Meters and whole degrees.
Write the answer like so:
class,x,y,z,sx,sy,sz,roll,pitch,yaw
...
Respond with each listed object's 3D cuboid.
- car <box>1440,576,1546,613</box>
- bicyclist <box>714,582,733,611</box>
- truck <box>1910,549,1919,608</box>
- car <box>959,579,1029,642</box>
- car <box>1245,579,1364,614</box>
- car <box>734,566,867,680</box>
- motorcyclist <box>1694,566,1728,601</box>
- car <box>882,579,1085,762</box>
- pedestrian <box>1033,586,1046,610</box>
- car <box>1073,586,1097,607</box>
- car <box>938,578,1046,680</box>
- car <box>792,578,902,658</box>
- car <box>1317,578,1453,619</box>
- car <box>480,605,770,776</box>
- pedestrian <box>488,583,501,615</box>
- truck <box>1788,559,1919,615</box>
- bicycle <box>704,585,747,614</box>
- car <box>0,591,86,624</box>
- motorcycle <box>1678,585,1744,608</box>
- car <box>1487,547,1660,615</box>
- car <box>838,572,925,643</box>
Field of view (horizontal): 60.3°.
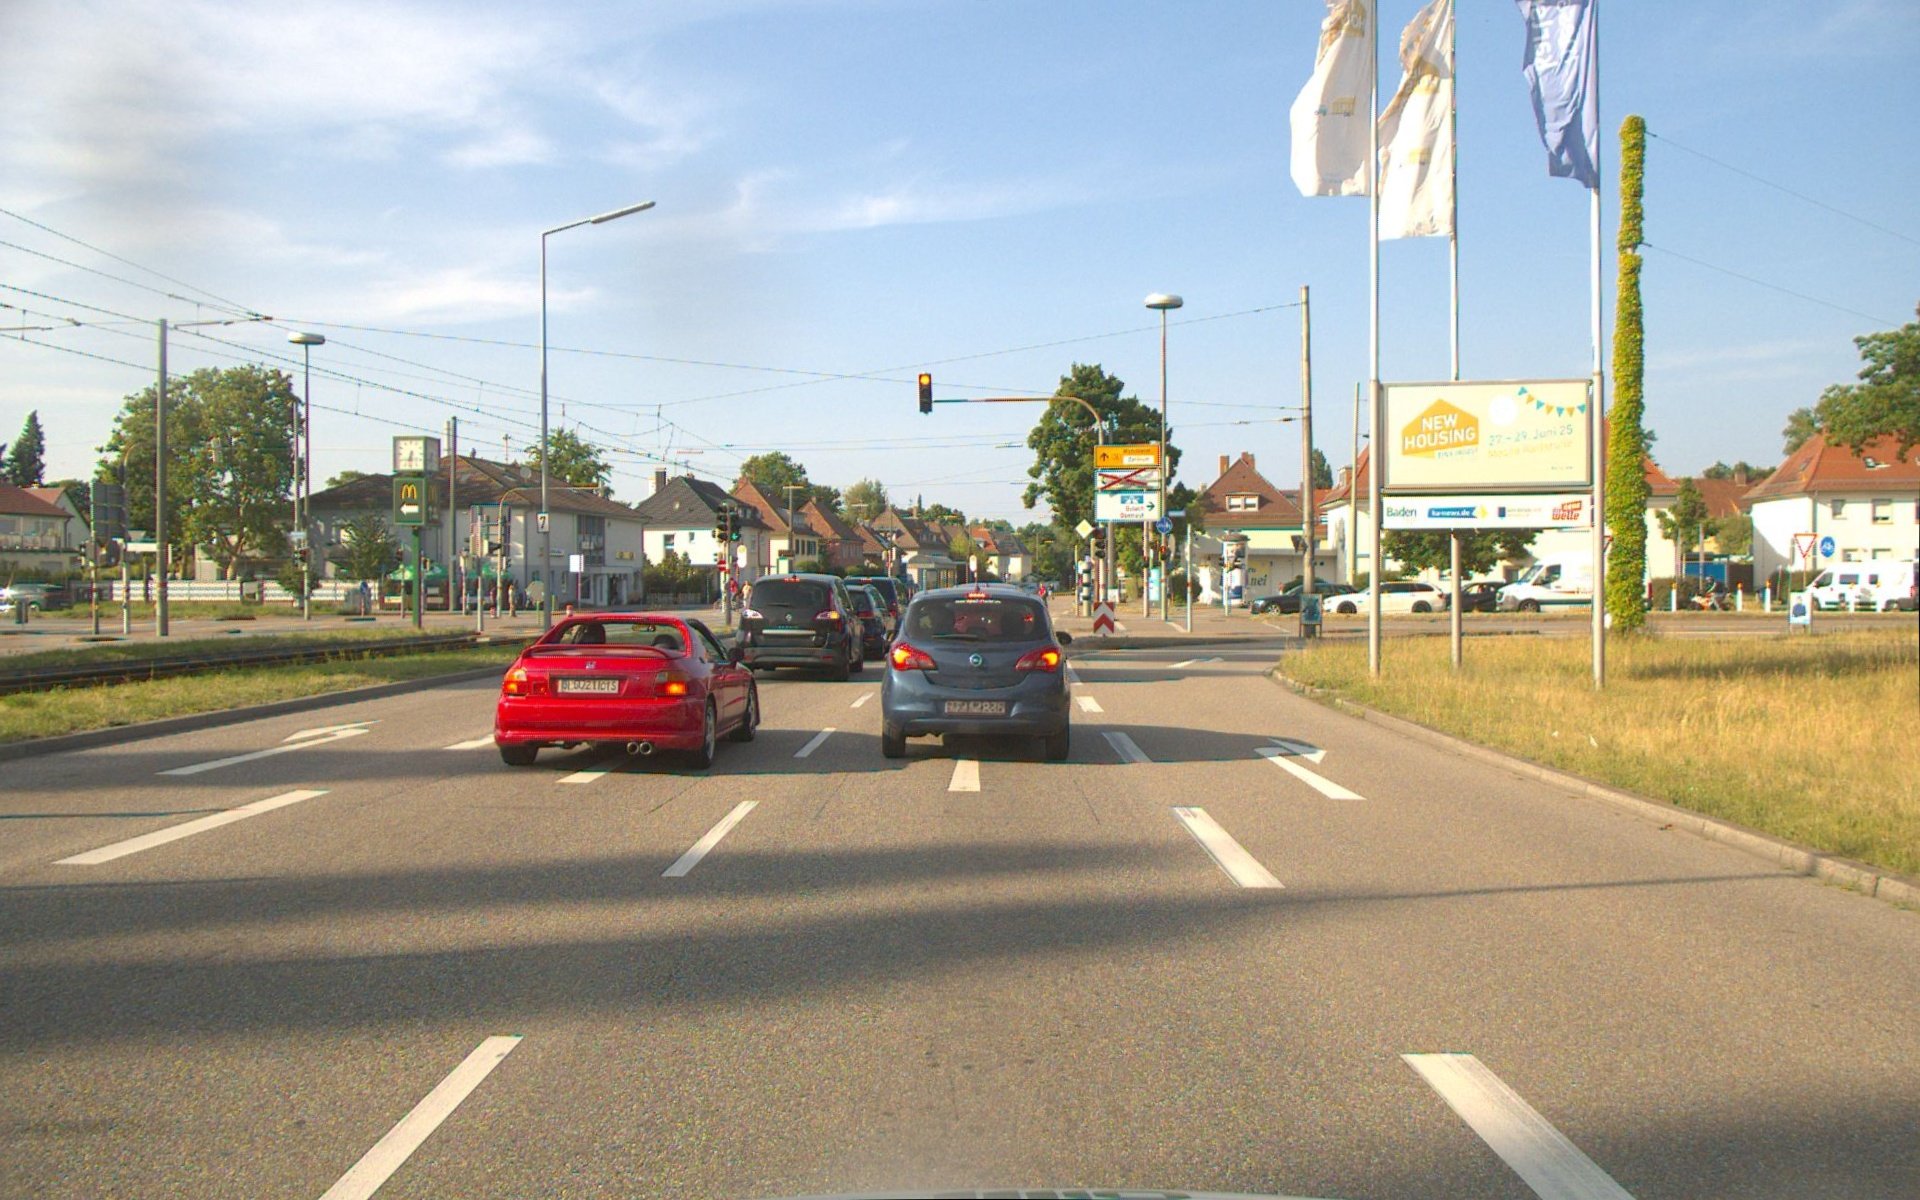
class,x,y,z,sx,sy,sz,roll,pitch,yaw
car,22.228,-0.230,69.030,3.903,1.478,1.717,0,0,4
bicyclist,-11.804,-0.172,82.485,0.867,1.456,1.135,1,0,-6
truck,49.528,-1.056,79.944,1.880,2.904,5.985,0,0,-42
car,0.849,0.238,40.926,1.622,1.468,4.015,-1,0,1
car,14.467,-0.154,69.656,4.722,1.436,1.717,0,0,4
car,-2.500,0.325,26.789,1.727,1.700,4.084,0,1,0
motorcyclist,29.228,-0.648,64.384,1.043,1.375,0.680,0,0,3
car,0.145,0.563,16.025,1.706,1.532,4.221,0,1,-2
pedestrian,5.183,-0.115,107.739,0.737,1.525,0.828,1,-1,11
car,8.644,-0.239,114.621,1.639,1.422,4.002,1,0,4
car,0.535,0.432,27.774,1.671,1.579,3.978,-1,0,1
car,-2.276,0.327,34.401,1.664,1.534,4.556,0,1,4
car,16.893,-0.072,65.864,4.987,1.590,1.841,0,0,4
car,-2.774,0.697,14.535,1.695,1.227,3.847,1,1,1
pedestrian,-23.477,-0.062,83.391,0.501,1.627,0.539,0,0,-1
truck,43.532,-0.654,79.746,2.247,2.568,6.291,-1,1,-31
bicycle,-11.676,-0.008,82.506,2.034,1.371,1.107,1,0,-6
car,-43.659,0.363,78.045,3.901,1.512,2.002,0,1,11
motorcycle,29.234,-0.132,64.389,2.223,0.882,0.691,0,0,2
car,24.220,-0.750,65.456,6.077,2.629,2.001,0,0,4
car,-1.918,0.152,41.673,1.474,1.680,4.747,-1,0,6
